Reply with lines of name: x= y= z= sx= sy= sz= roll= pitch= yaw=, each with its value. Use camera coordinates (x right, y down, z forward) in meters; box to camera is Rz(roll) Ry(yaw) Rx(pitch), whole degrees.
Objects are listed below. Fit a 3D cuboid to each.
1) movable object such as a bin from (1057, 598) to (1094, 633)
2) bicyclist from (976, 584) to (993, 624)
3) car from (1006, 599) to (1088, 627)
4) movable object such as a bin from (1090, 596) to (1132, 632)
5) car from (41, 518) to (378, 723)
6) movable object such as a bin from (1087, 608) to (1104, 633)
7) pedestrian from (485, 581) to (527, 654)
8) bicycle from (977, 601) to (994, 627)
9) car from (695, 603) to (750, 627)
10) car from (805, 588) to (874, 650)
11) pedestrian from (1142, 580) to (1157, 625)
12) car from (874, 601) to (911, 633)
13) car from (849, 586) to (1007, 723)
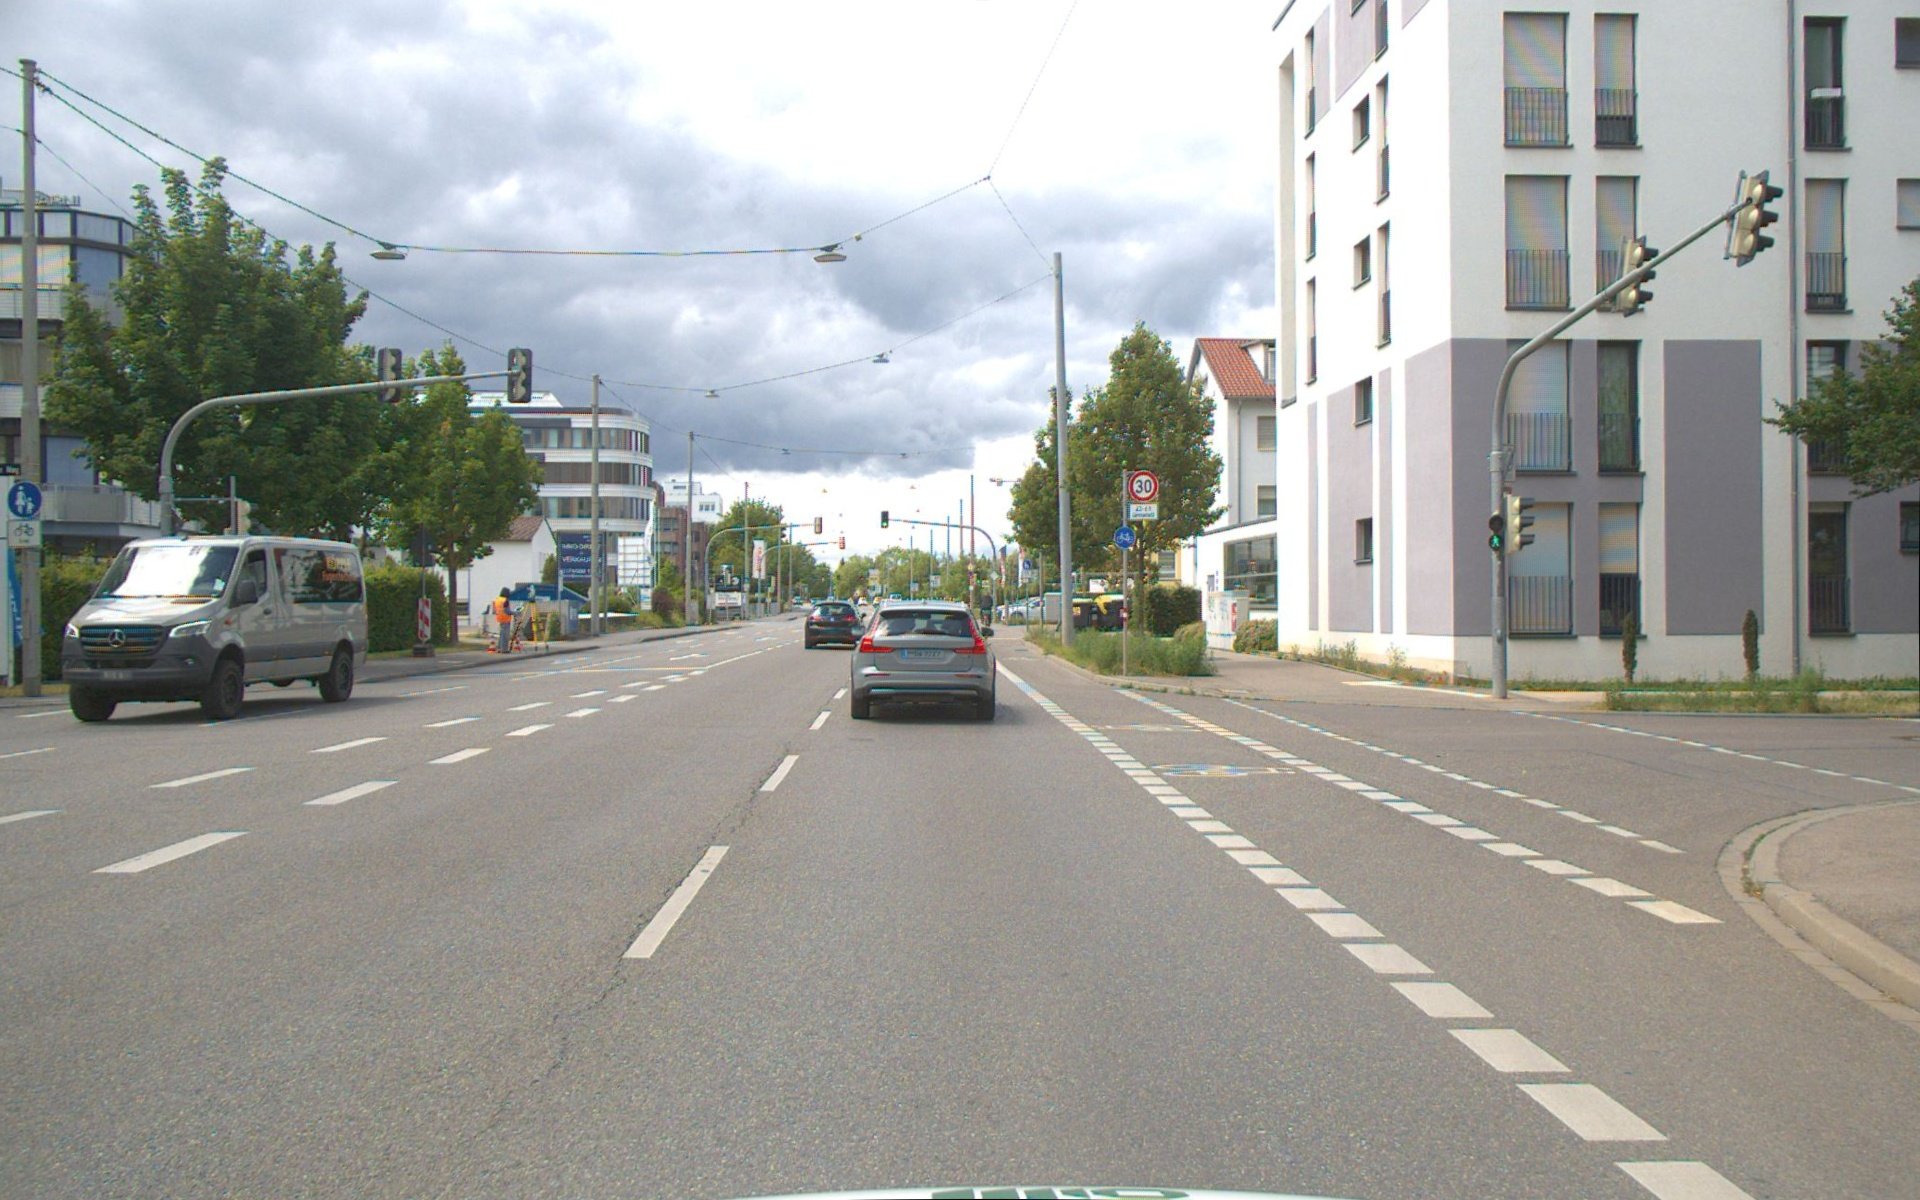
movable object such as a bin: x=4.714 y=0.648 z=67.357 sx=1.291 sy=1.385 sz=1.252 roll=0 pitch=-2 yaw=15
bicyclist: x=1.105 y=0.176 z=73.448 sx=0.625 sy=1.704 sz=0.890 roll=-3 pitch=0 yaw=-1
car: x=5.061 y=0.772 z=96.529 sx=4.602 sy=1.519 sz=2.045 roll=1 pitch=0 yaw=-2
movable object such as a bin: x=6.181 y=0.582 z=67.731 sx=1.296 sy=1.461 sz=1.247 roll=-1 pitch=-2 yaw=35
car: x=-10.485 y=0.277 z=23.792 sx=2.099 sy=2.515 sz=6.071 roll=-2 pitch=0 yaw=-1
movable object such as a bin: x=5.595 y=0.840 z=68.290 sx=0.557 sy=1.044 sz=0.404 roll=-1 pitch=-2 yaw=36
pedestrian: x=-12.873 y=0.501 z=46.896 sx=0.713 sy=2.049 sz=0.806 roll=1 pitch=-2 yaw=41
bicycle: x=1.124 y=0.620 z=73.335 sx=0.625 sy=1.081 sz=1.977 roll=-3 pitch=0 yaw=-1
car: x=-18.162 y=1.132 z=126.704 sx=4.019 sy=1.422 sz=1.904 roll=-6 pitch=1 yaw=-9
car: x=-3.672 y=0.600 z=50.732 sx=1.954 sy=1.747 sz=3.997 roll=2 pitch=-1 yaw=-4
pedestrian: x=7.566 y=0.099 z=66.041 sx=0.496 sy=1.796 sz=0.501 roll=2 pitch=-1 yaw=15
car: x=-3.791 y=0.980 z=93.113 sx=1.953 sy=1.724 sz=3.998 roll=2 pitch=-1 yaw=-2
car: x=-0.467 y=0.689 z=21.893 sx=1.858 sy=1.581 sz=3.998 roll=2 pitch=-1 yaw=-3
